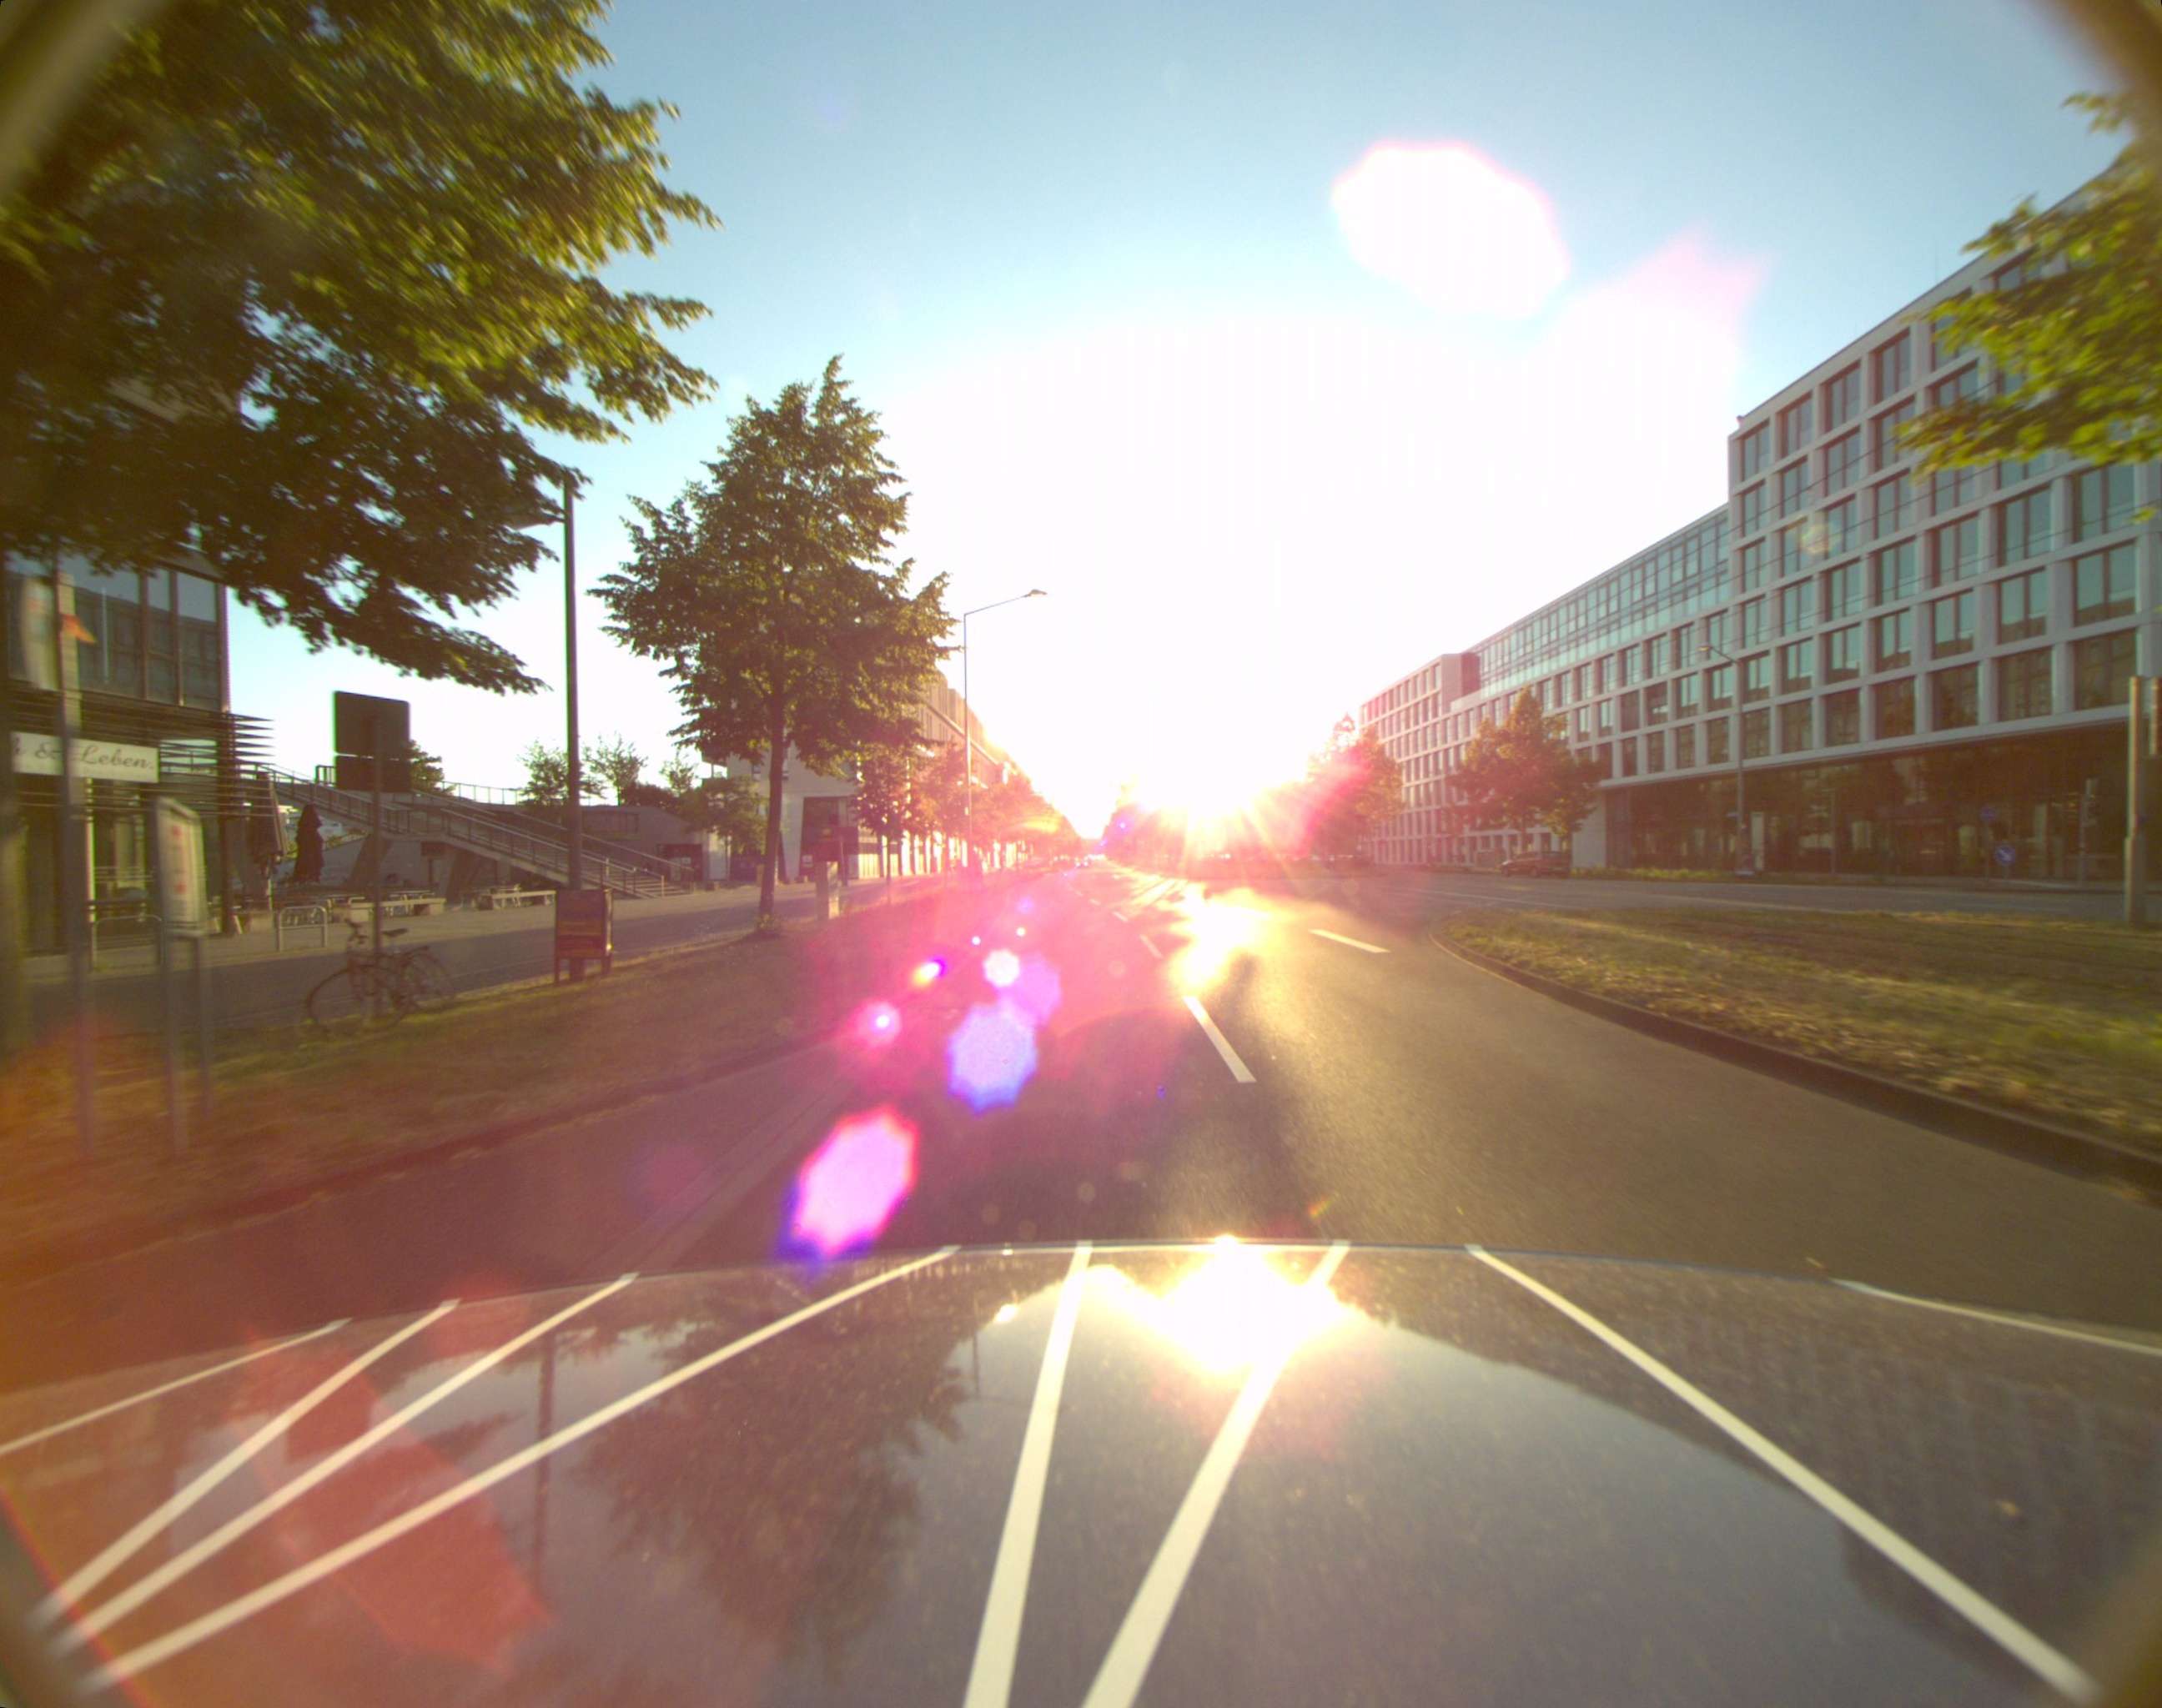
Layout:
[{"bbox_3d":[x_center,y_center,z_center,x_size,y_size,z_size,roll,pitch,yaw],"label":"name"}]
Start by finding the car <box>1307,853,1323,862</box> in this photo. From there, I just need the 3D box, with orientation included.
[{"bbox_3d":[41.510,0.621,134.622,1.997,1.583,4.338,-1,0,8],"label":"car"}]

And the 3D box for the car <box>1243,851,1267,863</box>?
[{"bbox_3d":[22.460,0.369,98.201,1.998,1.426,4.898,-1,0,1],"label":"car"}]

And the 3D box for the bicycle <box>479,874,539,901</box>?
[{"bbox_3d":[-27.822,1.601,37.003,0.732,1.229,2.451,-1,0,12],"label":"bicycle"}]

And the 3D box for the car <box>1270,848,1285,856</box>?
[{"bbox_3d":[41.034,-0.395,158.952,1.998,1.730,4.611,-1,0,1],"label":"car"}]

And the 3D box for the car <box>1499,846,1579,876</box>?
[{"bbox_3d":[23.494,0.353,39.130,1.645,1.440,3.999,-1,0,-1],"label":"car"}]

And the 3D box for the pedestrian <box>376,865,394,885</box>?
[{"bbox_3d":[-57.118,1.721,62.341,0.716,1.585,0.798,-1,0,7],"label":"pedestrian"}]

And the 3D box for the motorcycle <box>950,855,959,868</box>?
[{"bbox_3d":[-16.408,0.983,98.543,0.690,1.689,2.123,-1,0,1],"label":"motorcycle"}]

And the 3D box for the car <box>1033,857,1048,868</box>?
[{"bbox_3d":[-6.255,1.271,117.738,1.998,1.594,4.000,-1,0,1],"label":"car"}]

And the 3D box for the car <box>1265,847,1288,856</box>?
[{"bbox_3d":[39.634,-0.410,154.346,4.082,1.731,2.000,-1,0,-1],"label":"car"}]

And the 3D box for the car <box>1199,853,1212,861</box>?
[{"bbox_3d":[22.780,0.565,139.345,1.649,1.395,4.000,-1,0,0],"label":"car"}]

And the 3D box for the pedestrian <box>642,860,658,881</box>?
[{"bbox_3d":[-33.400,1.275,58.931,0.767,1.672,0.765,-1,0,3],"label":"pedestrian"}]

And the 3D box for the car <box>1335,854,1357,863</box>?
[{"bbox_3d":[38.605,0.650,110.846,1.763,1.395,4.000,-1,0,0],"label":"car"}]

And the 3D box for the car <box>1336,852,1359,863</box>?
[{"bbox_3d":[37.412,0.499,106.730,1.763,1.395,4.000,-1,0,0],"label":"car"}]

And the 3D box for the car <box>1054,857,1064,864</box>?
[{"bbox_3d":[-4.968,1.453,168.636,1.998,1.594,4.000,-1,0,1],"label":"car"}]

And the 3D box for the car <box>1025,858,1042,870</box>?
[{"bbox_3d":[-6.203,1.328,99.437,1.998,1.455,4.000,-1,0,1],"label":"car"}]

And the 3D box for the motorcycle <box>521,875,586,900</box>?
[{"bbox_3d":[-24.610,1.542,35.498,0.732,1.037,2.694,-1,0,12],"label":"motorcycle"}]

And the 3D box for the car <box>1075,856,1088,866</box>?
[{"bbox_3d":[0.104,0.991,116.373,1.998,1.473,4.335,-1,0,1],"label":"car"}]

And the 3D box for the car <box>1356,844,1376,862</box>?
[{"bbox_3d":[49.196,-0.101,131.358,2.163,2.973,5.725,-1,0,9],"label":"car"}]

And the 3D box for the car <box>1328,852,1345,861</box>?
[{"bbox_3d":[44.035,0.414,130.855,1.997,1.583,4.002,-1,0,8],"label":"car"}]

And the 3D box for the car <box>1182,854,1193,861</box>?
[{"bbox_3d":[23.741,0.804,169.401,1.649,1.395,4.000,-1,0,0],"label":"car"}]

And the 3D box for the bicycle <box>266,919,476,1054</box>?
[{"bbox_3d":[-6.765,1.209,7.366,0.580,0.989,1.686,-1,0,-7],"label":"bicycle"}]
